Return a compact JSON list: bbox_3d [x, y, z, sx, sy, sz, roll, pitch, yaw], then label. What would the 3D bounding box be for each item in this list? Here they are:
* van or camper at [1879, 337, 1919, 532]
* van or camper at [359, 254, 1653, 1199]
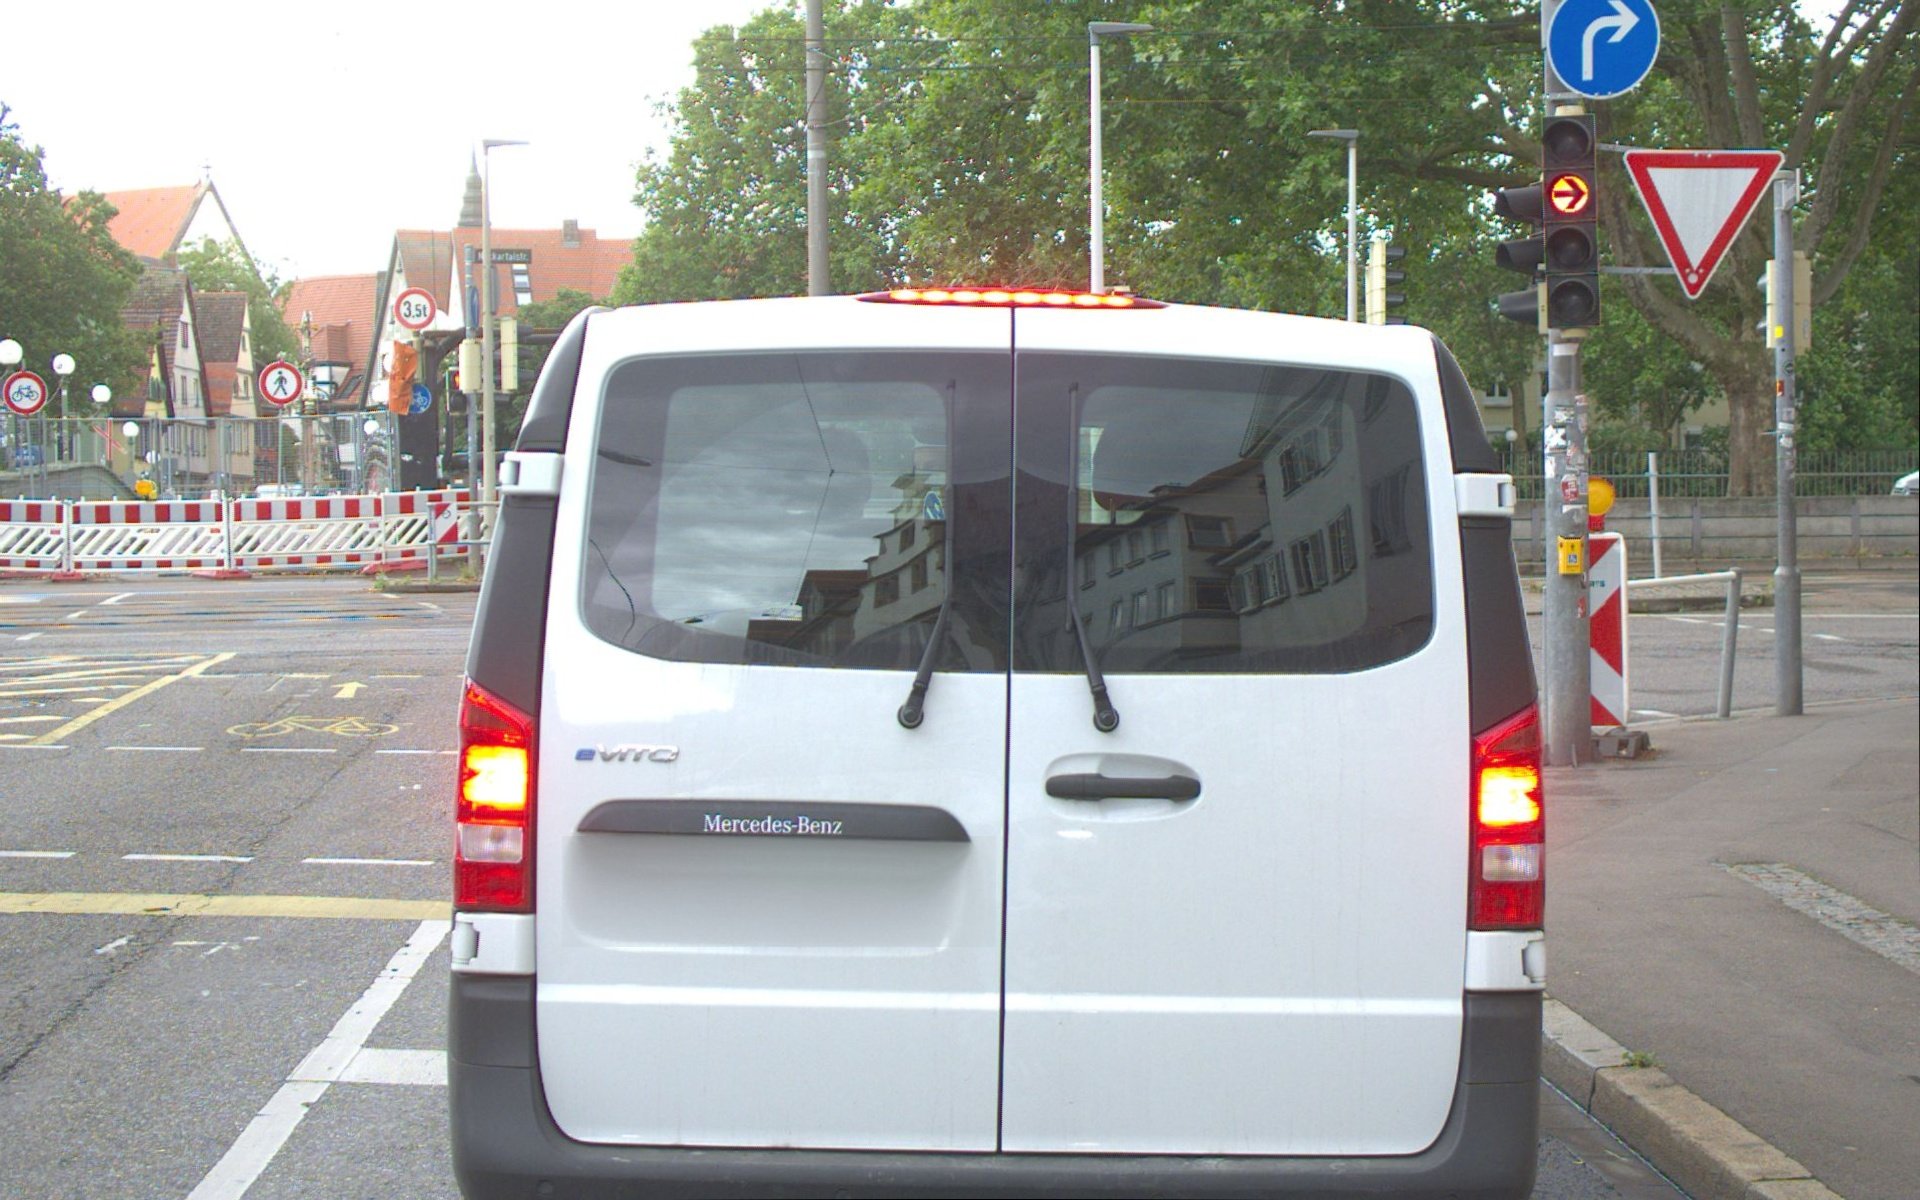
[{"bbox_3d":[15.275,-2.236,45.892,5.391,2.505,2.037,-1,0,-2],"label":"van or camper"},{"bbox_3d":[-0.068,0.345,7.420,1.937,1.918,4.442,1,3,-4],"label":"van or camper"}]
